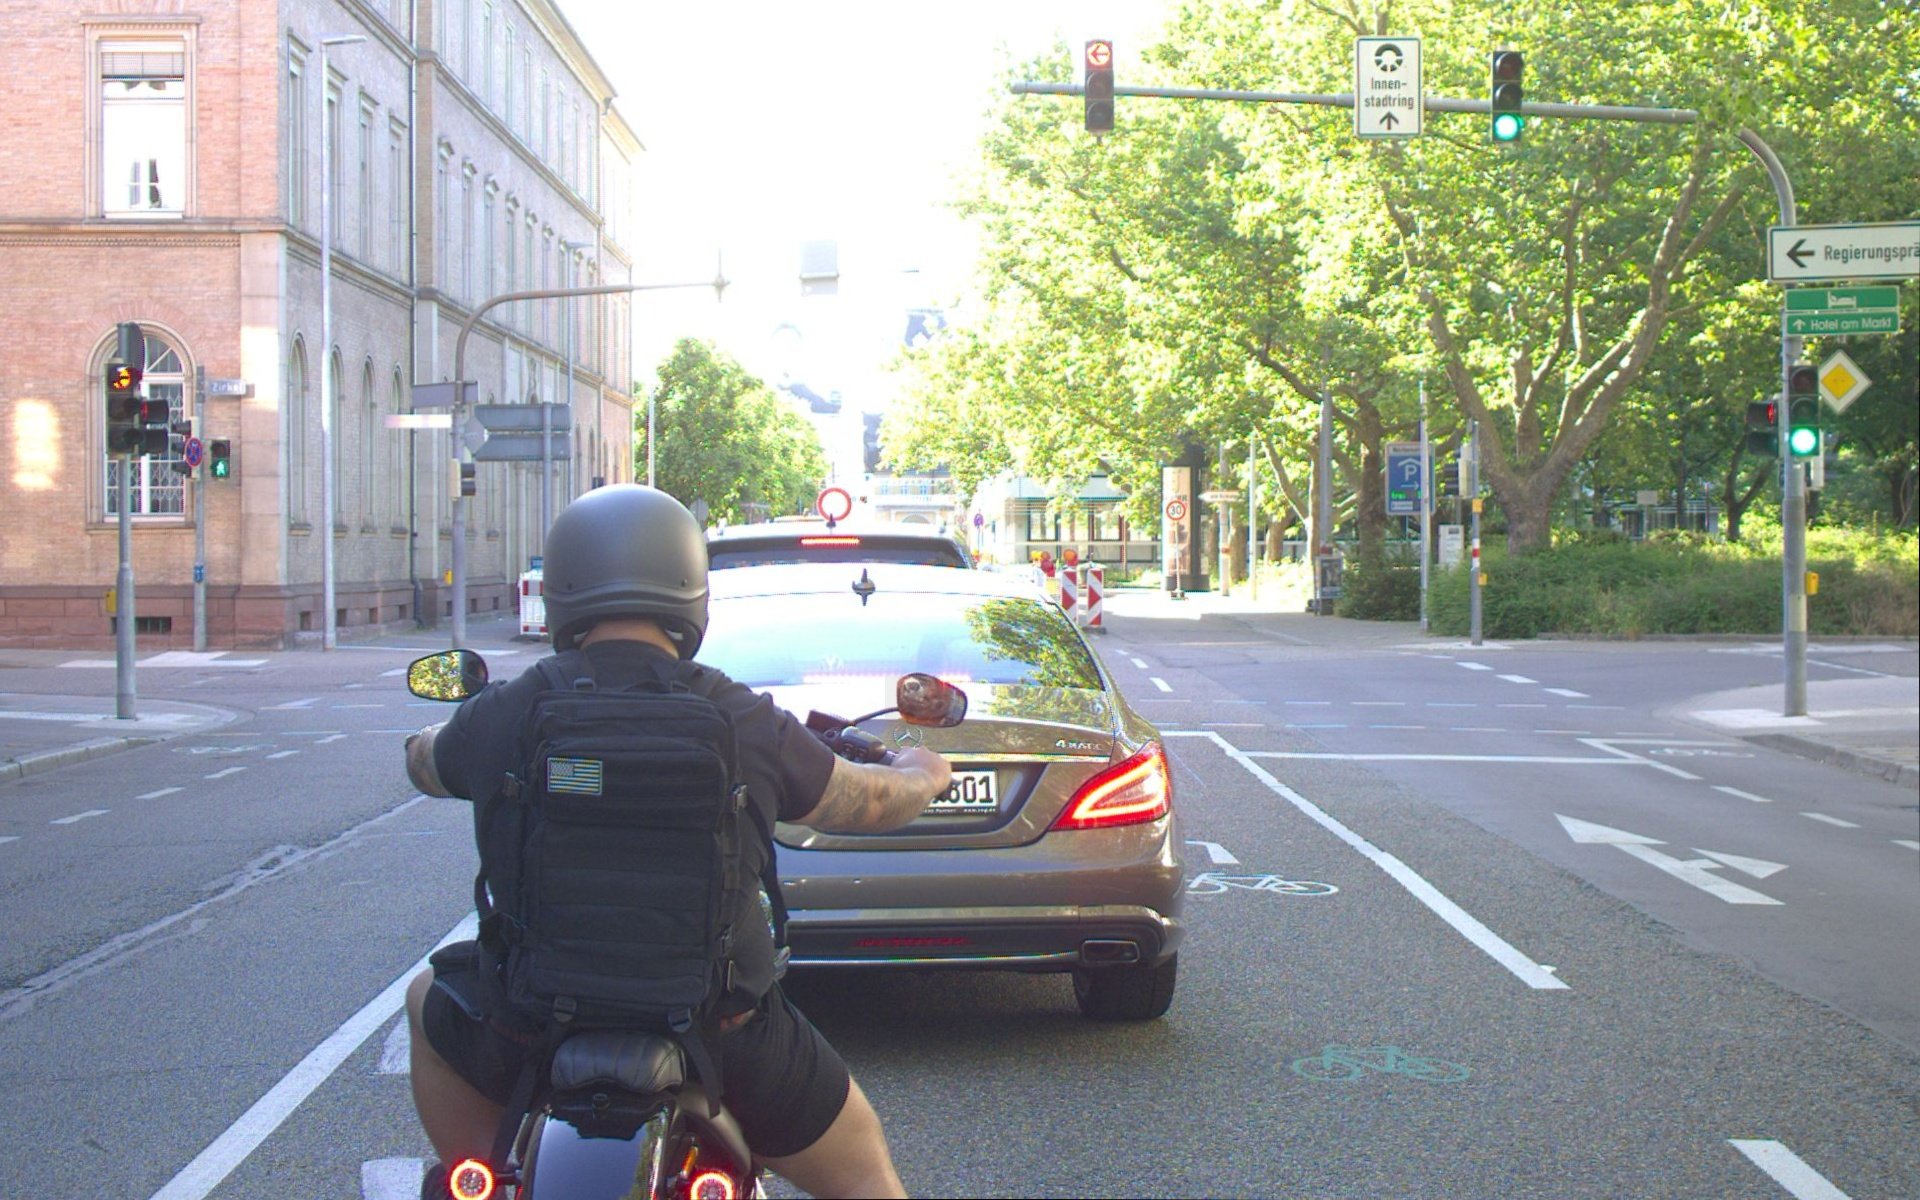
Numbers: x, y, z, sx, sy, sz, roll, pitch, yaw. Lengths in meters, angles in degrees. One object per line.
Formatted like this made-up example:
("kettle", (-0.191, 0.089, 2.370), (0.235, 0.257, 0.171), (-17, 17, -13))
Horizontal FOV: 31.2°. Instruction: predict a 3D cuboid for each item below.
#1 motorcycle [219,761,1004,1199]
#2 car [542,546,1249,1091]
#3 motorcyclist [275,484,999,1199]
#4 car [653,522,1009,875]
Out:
("motorcycle", (-0.453, 0.880, 5.574), (0.989, 1.075, 2.452), (0, 1, -1))
("car", (-0.429, 0.558, 11.610), (1.945, 1.468, 4.363), (0, 1, -7))
("motorcyclist", (-0.450, 0.624, 5.415), (0.989, 1.591, 1.404), (0, 1, -1))
("car", (-0.635, 0.407, 17.776), (1.612, 1.602, 4.329), (0, 1, -1))
